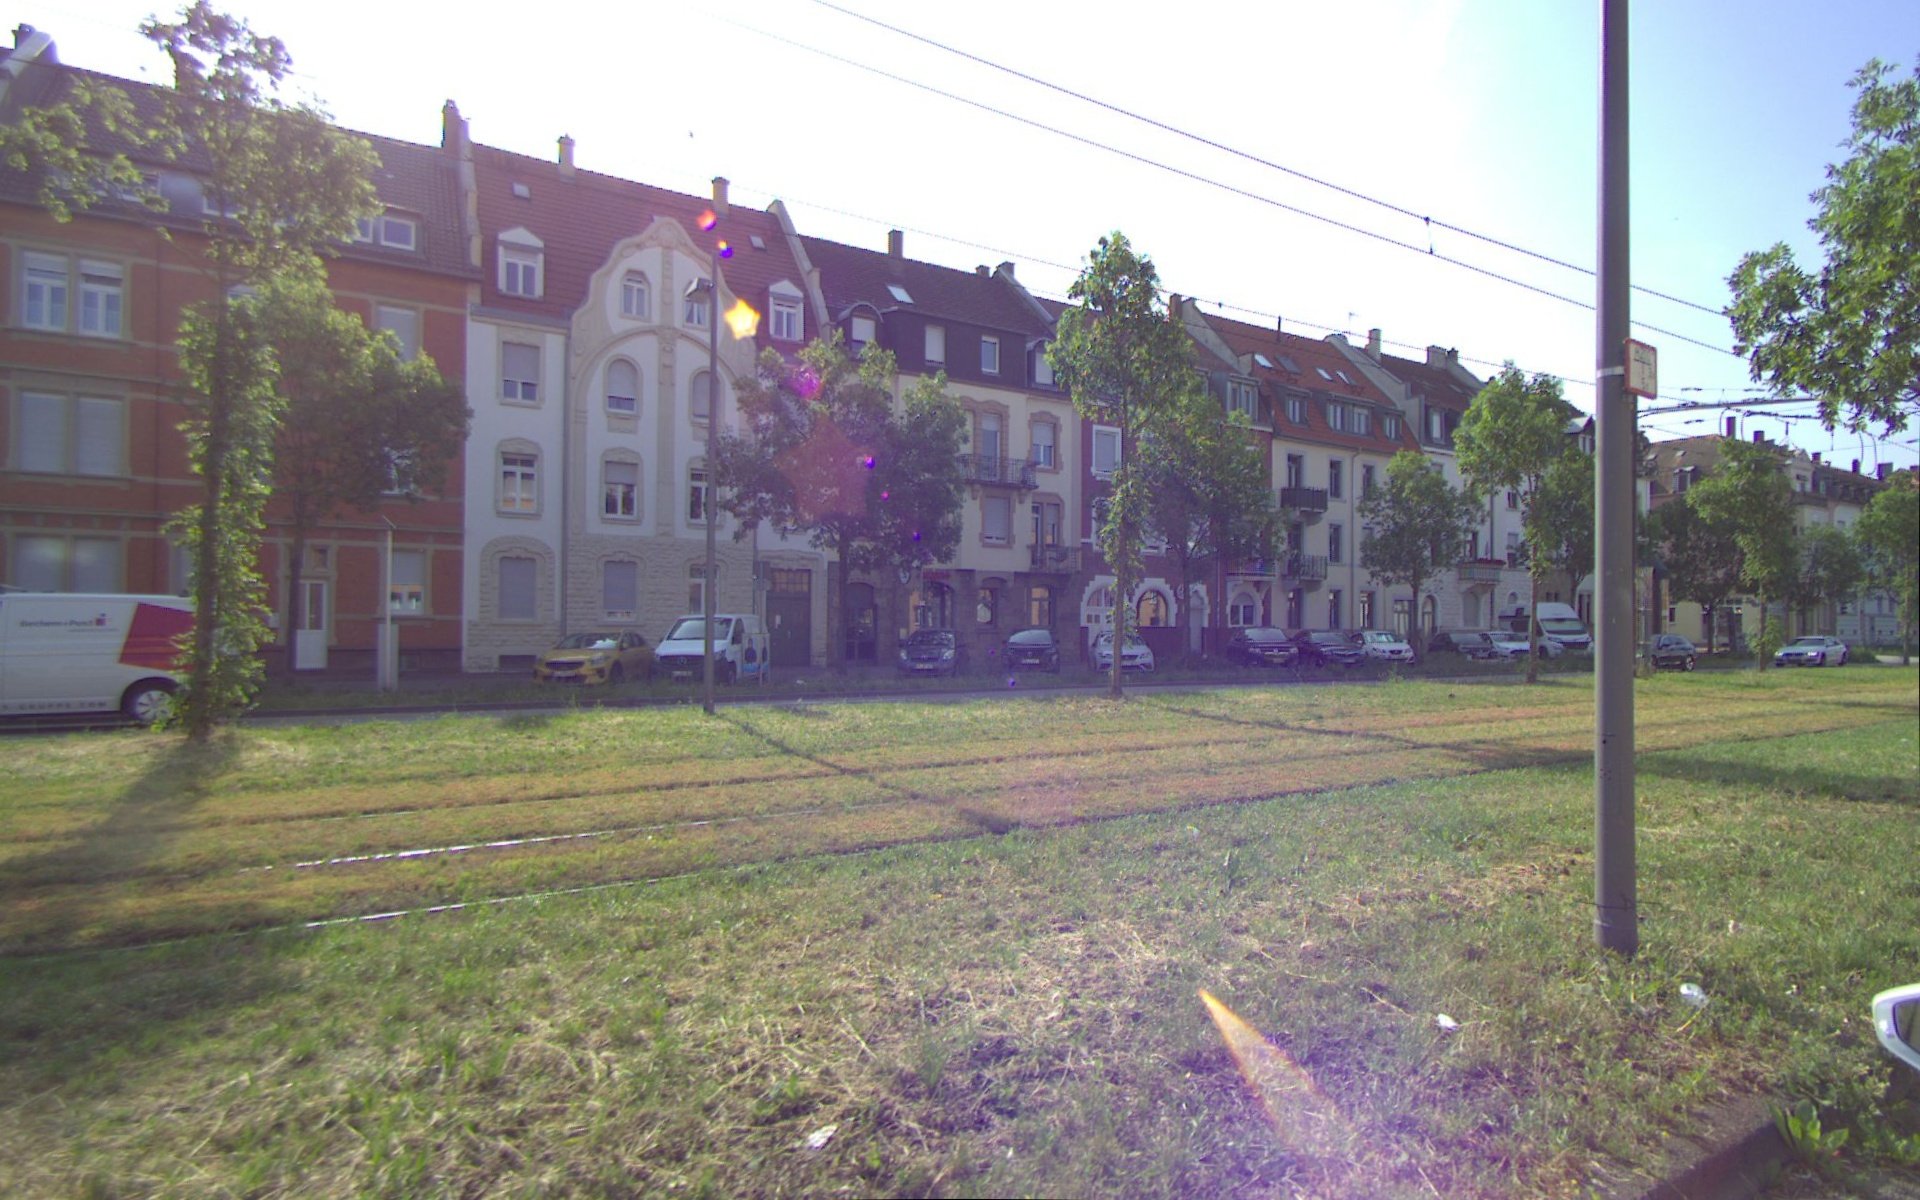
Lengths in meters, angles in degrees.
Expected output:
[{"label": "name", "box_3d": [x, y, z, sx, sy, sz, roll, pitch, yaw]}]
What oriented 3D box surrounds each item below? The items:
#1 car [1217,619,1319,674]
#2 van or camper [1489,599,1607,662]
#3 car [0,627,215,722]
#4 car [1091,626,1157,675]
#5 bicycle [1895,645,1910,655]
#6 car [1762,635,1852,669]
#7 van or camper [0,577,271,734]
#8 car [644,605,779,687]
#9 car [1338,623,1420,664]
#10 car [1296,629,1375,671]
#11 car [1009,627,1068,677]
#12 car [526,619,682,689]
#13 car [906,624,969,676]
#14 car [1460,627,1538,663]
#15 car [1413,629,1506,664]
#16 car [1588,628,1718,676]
[{"label": "car", "box_3d": [10.863, 1.612, 35.779, 1.799, 1.766, 4.644, 1, -2, -6]}, {"label": "van or camper", "box_3d": [26.874, 1.310, 46.217, 2.155, 2.608, 5.928, 2, 0, 4]}, {"label": "car", "box_3d": [-16.744, 1.287, 18.799, 1.983, 1.505, 4.779, 2, -2, 0]}, {"label": "car", "box_3d": [5.025, 1.524, 31.222, 1.629, 1.258, 3.688, 2, 0, 4]}, {"label": "bicycle", "box_3d": [77.699, 4.101, 82.838, 1.926, 0.799, 0.435, 2, 1, -33]}, {"label": "car", "box_3d": [40.423, 2.459, 47.930, 4.597, 1.479, 1.937, 2, 0, -32]}, {"label": "van or camper", "box_3d": [-13.300, 0.797, 14.572, 5.293, 2.124, 1.941, 2, -3, -32]}, {"label": "car", "box_3d": [-6.107, 1.055, 25.339, 1.820, 1.749, 4.954, 2, 0, 4]}, {"label": "car", "box_3d": [15.988, 1.616, 38.545, 1.629, 1.334, 4.016, 2, 0, 4]}, {"label": "car", "box_3d": [13.390, 1.750, 36.053, 1.629, 1.258, 3.688, 2, 0, 4]}, {"label": "car", "box_3d": [2.335, 1.532, 30.398, 1.629, 1.258, 3.688, 2, 0, 3]}, {"label": "car", "box_3d": [-8.438, 1.224, 24.330, 1.820, 1.366, 4.702, 2, 0, 4]}, {"label": "car", "box_3d": [-0.586, 1.360, 28.399, 1.495, 1.258, 3.688, -1, 0, 3]}, {"label": "car", "box_3d": [23.819, 1.952, 44.511, 1.629, 1.349, 3.688, 2, 0, 4]}, {"label": "car", "box_3d": [21.188, 1.949, 42.752, 1.633, 1.258, 3.679, 2, 0, -11]}, {"label": "car", "box_3d": [26.687, 1.997, 38.634, 5.316, 1.652, 1.984, 2, 0, -30]}]
